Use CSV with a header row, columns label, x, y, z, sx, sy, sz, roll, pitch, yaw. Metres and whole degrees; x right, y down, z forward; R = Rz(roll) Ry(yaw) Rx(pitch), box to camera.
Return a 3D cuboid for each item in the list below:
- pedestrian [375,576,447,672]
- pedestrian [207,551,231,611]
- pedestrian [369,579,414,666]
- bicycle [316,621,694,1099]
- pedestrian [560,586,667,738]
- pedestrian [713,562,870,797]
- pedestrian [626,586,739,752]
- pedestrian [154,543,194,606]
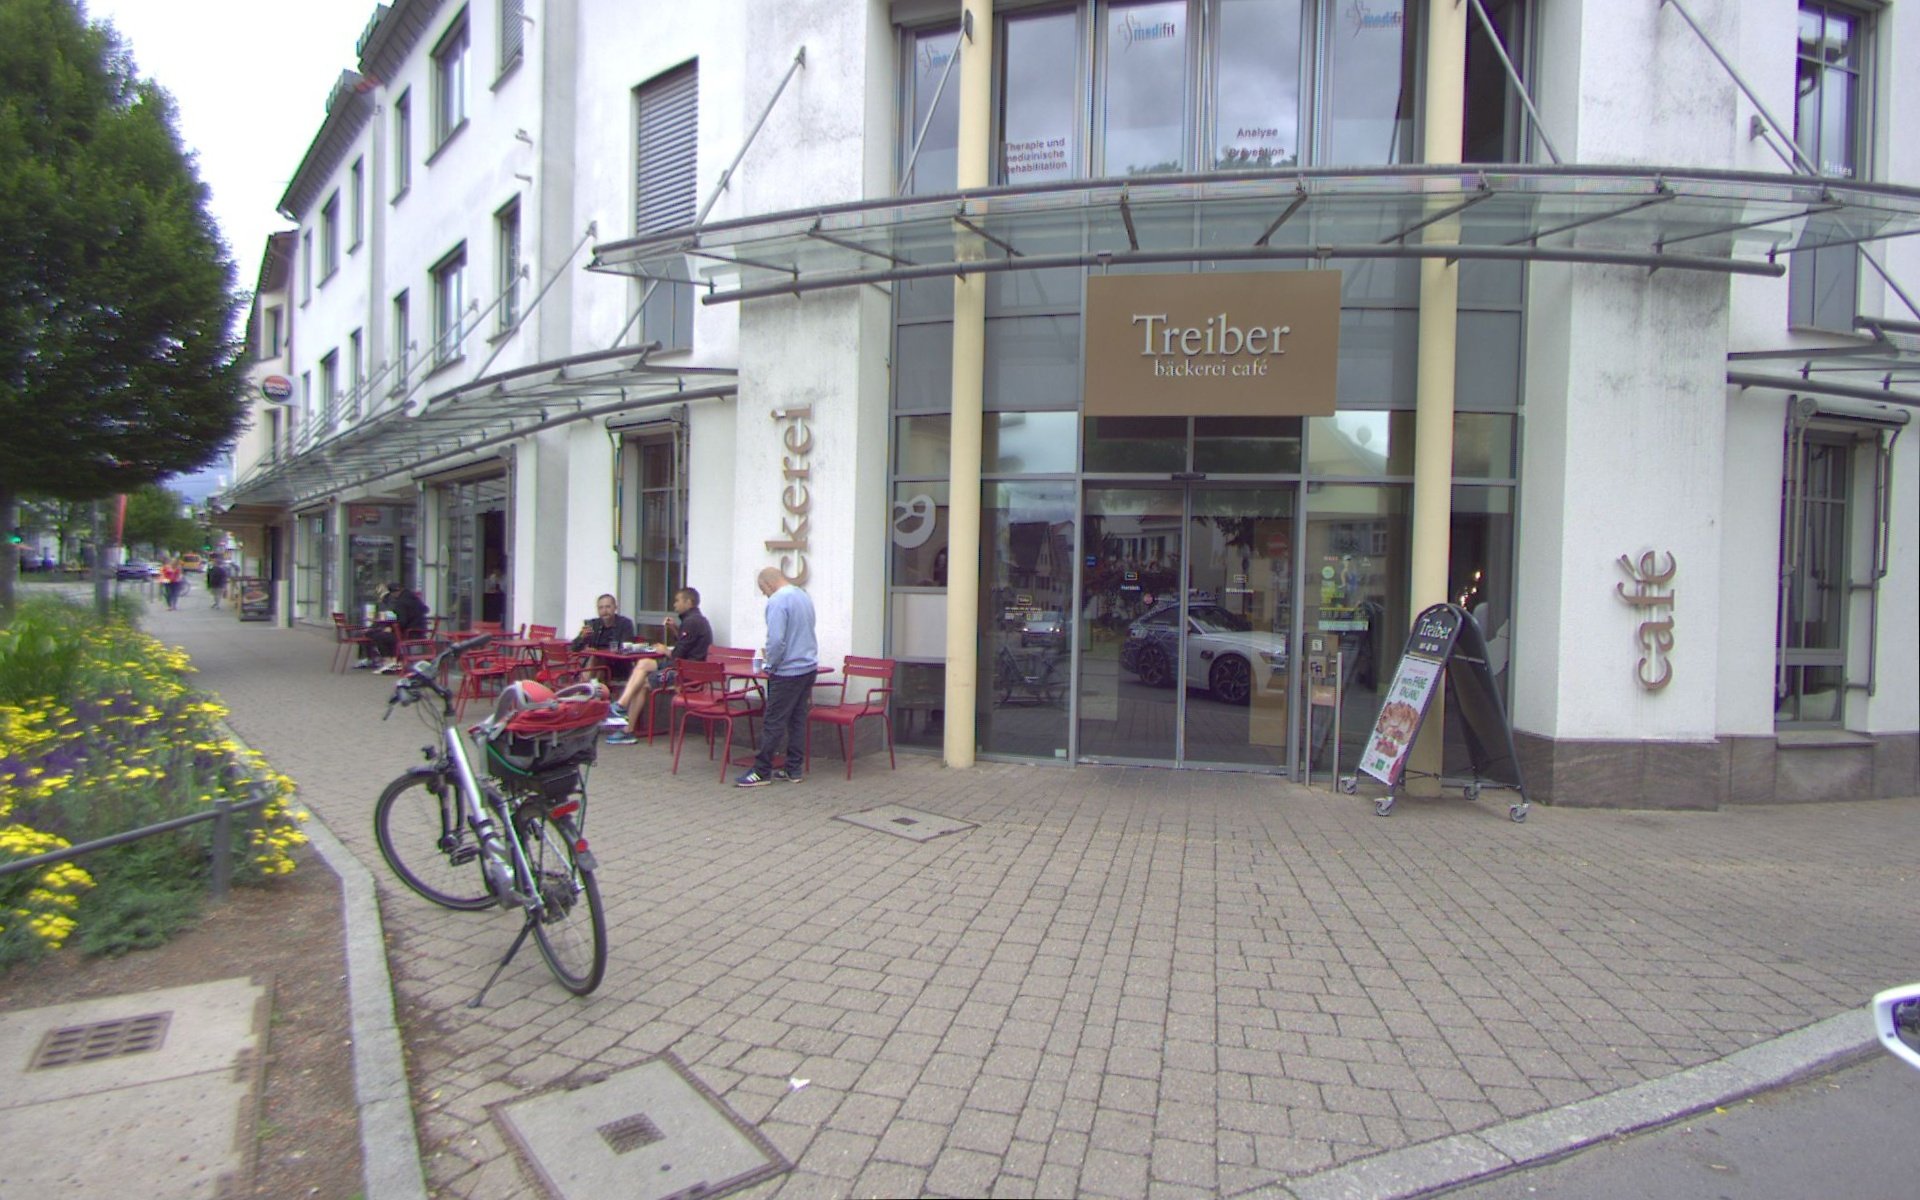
label,x,y,z,sx,sy,sz,roll,pitch,yaw
pedestrian,-7.885,0.346,14.435,0.759,1.335,0.561,3,0,-42
pedestrian,-25.851,-0.658,35.050,0.664,2.041,0.628,0,1,-38
pedestrian,-8.604,0.326,15.204,0.498,1.288,0.486,0,2,-42
bicycle,-1.823,0.764,3.826,0.739,1.256,1.955,0,2,-43
pedestrian,-3.259,0.553,9.464,0.691,1.350,0.682,2,2,35
pedestrian,-1.191,0.512,7.148,0.691,1.546,0.864,2,2,35
pedestrian,-2.415,0.568,8.749,0.646,1.359,0.694,2,2,35
pedestrian,-26.154,-0.836,33.446,1.020,2.041,0.887,0,1,-36
